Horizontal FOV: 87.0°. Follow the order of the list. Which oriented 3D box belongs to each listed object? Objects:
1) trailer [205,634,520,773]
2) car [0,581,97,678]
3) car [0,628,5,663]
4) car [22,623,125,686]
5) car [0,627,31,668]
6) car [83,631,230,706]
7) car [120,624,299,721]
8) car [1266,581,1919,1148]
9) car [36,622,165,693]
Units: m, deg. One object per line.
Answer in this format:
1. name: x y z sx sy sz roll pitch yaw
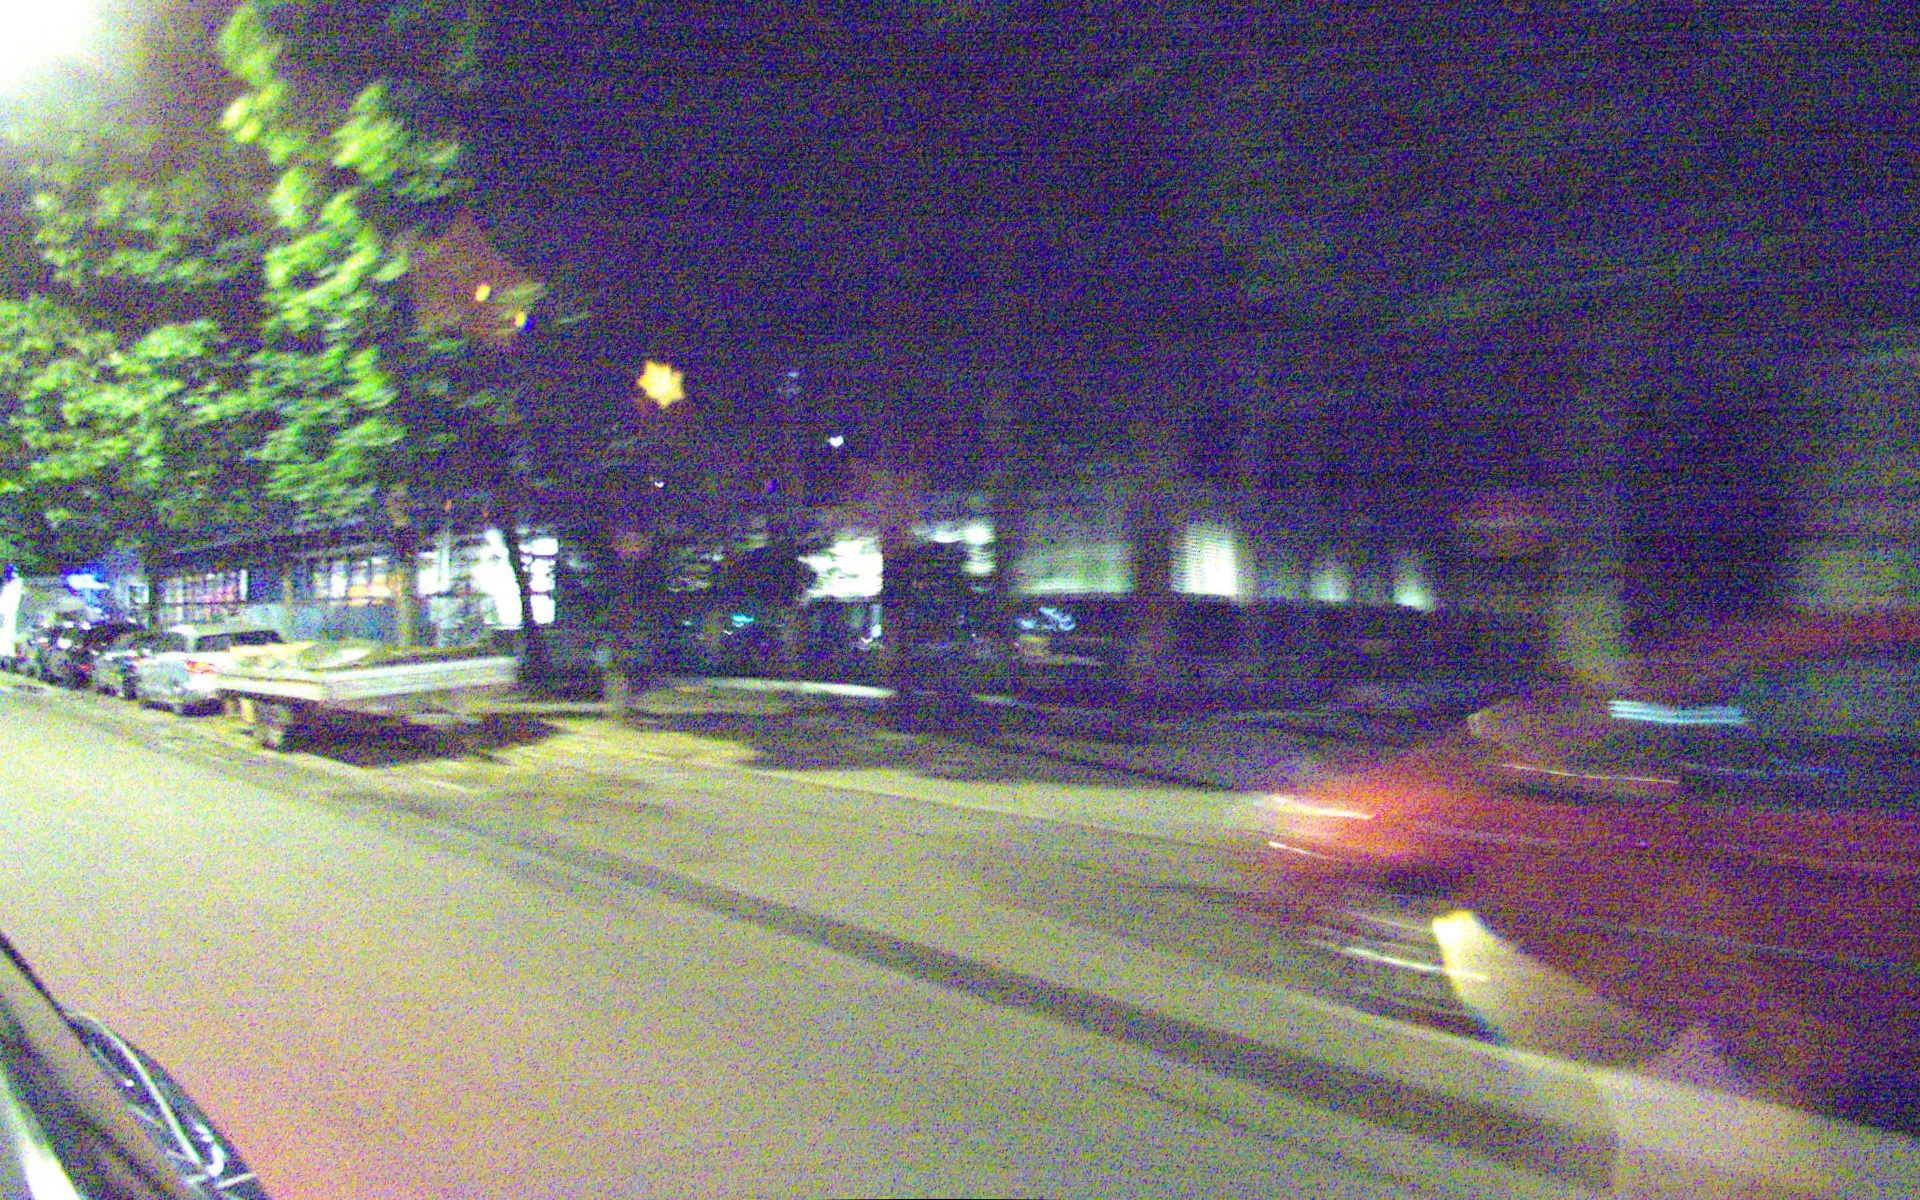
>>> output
1. trailer: -8.107 1.194 13.450 5.434 1.345 2.088 -1 1 42
2. car: -30.035 0.937 32.964 4.906 2.931 2.157 -2 -1 40
3. car: -42.760 1.998 43.936 3.365 1.466 1.532 -2 0 40
4. car: -25.059 1.482 28.573 4.115 1.619 1.723 -2 -1 42
5. car: -37.829 1.832 39.669 3.858 1.516 1.628 -1 -1 40
6. car: -17.725 1.418 22.241 4.630 1.422 1.687 -1 0 41
7. car: -13.804 1.241 18.540 4.202 1.513 1.699 -2 1 40
8. car: 3.398 0.746 3.518 4.072 1.611 1.803 -2 0 42
9. car: -21.741 1.388 25.547 4.293 1.618 1.725 -1 0 39
